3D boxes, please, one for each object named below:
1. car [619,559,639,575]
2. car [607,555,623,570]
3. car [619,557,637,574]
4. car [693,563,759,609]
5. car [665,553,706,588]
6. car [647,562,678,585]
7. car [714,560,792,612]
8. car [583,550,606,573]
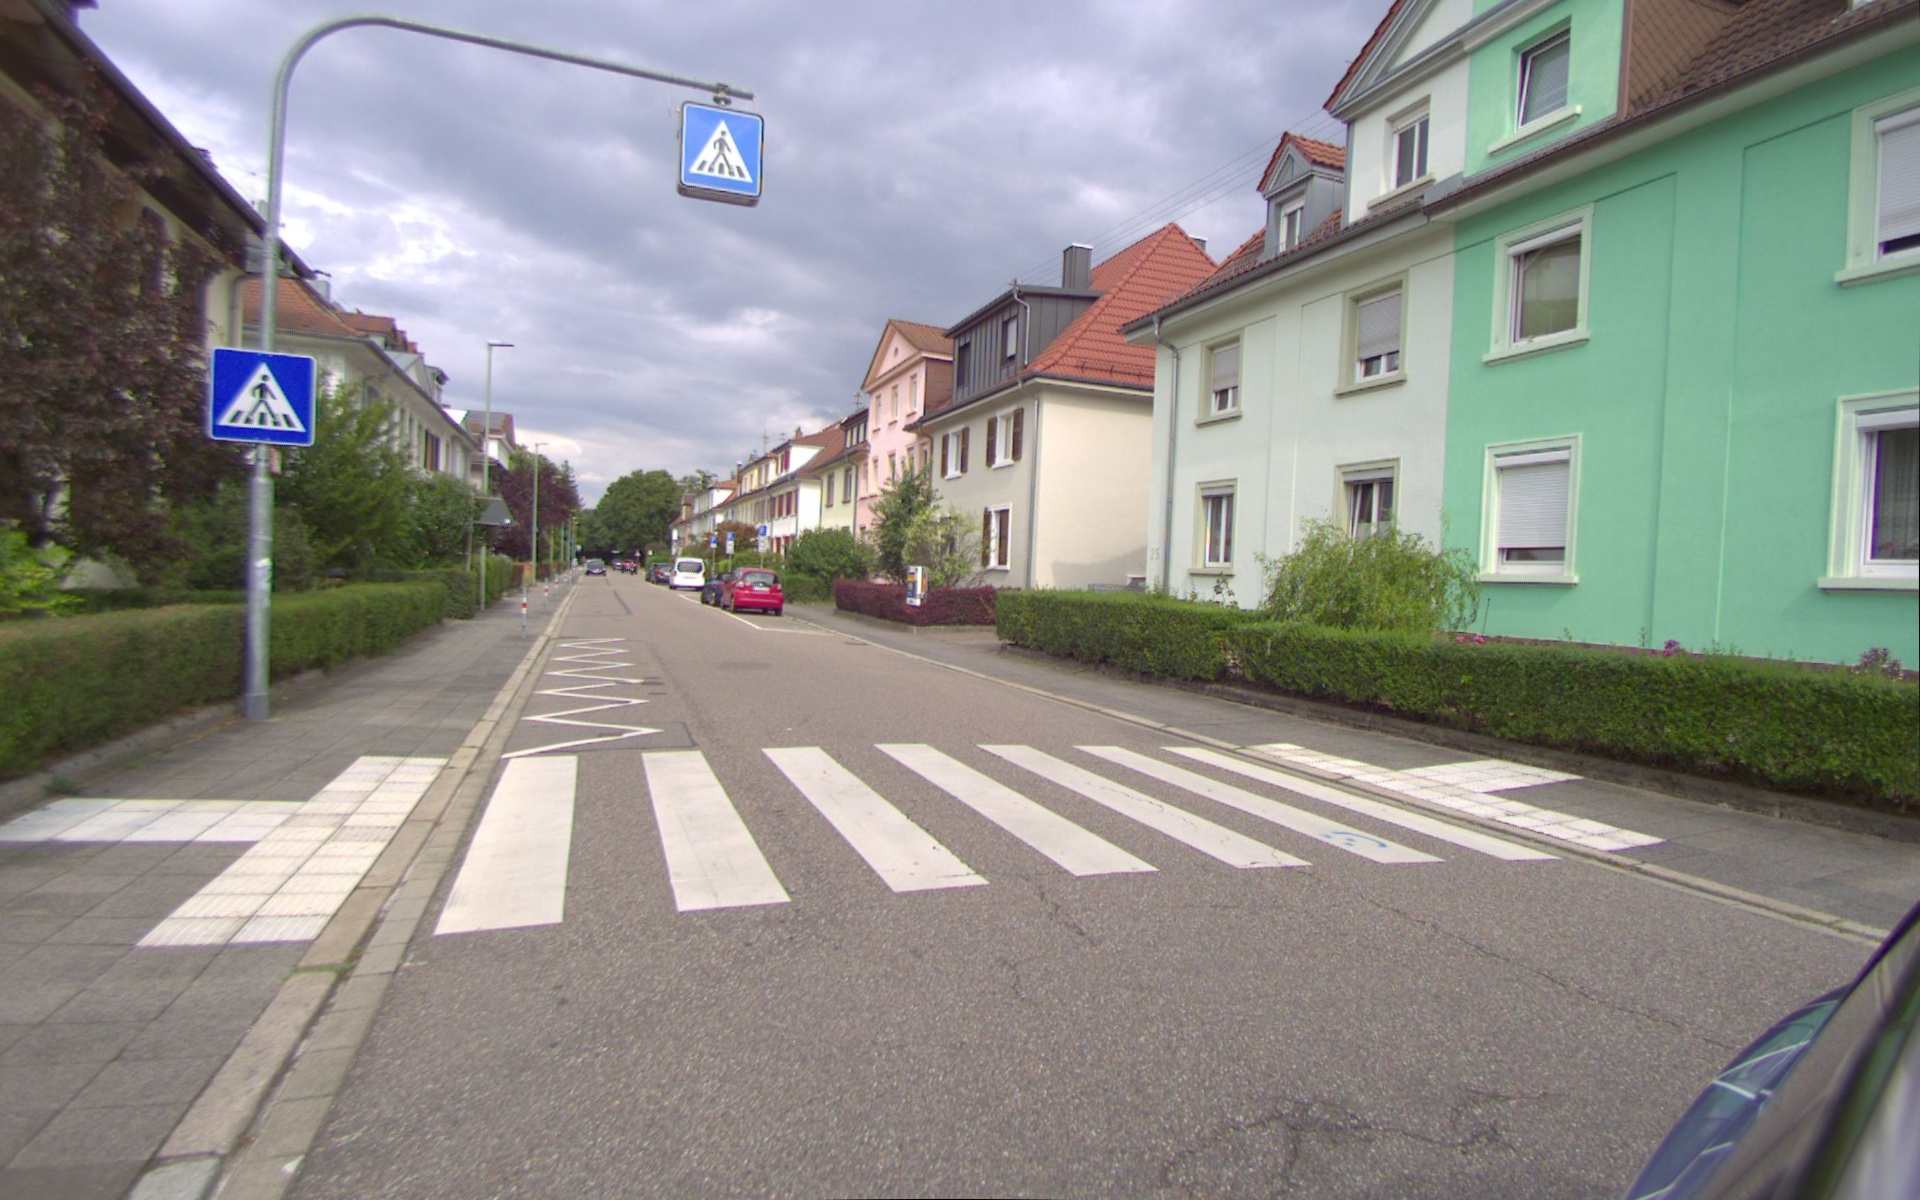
[{"bbox_3d":[-38.897,-3.919,118.793,1.699,1.727,4.008,3,1,-25],"label":"car"},{"bbox_3d":[-51.039,-5.590,149.592,1.958,2.038,4.009,2,2,-21],"label":"car"},{"bbox_3d":[-42.933,-4.522,130.660,1.958,2.038,4.010,3,1,-20],"label":"car"},{"bbox_3d":[-9.097,-0.573,39.144,1.958,1.593,4.010,2,1,-20],"label":"car"},{"bbox_3d":[-16.548,-1.785,60.899,1.958,1.927,4.010,2,1,-20],"label":"car"},{"bbox_3d":[-22.276,-2.006,75.725,1.958,1.593,4.010,2,1,-20],"label":"car"},{"bbox_3d":[-7.070,-0.523,34.307,1.958,1.593,4.010,2,1,-20],"label":"car"},{"bbox_3d":[-34.952,-3.682,96.640,1.958,2.038,4.010,2,2,-20],"label":"car"}]
